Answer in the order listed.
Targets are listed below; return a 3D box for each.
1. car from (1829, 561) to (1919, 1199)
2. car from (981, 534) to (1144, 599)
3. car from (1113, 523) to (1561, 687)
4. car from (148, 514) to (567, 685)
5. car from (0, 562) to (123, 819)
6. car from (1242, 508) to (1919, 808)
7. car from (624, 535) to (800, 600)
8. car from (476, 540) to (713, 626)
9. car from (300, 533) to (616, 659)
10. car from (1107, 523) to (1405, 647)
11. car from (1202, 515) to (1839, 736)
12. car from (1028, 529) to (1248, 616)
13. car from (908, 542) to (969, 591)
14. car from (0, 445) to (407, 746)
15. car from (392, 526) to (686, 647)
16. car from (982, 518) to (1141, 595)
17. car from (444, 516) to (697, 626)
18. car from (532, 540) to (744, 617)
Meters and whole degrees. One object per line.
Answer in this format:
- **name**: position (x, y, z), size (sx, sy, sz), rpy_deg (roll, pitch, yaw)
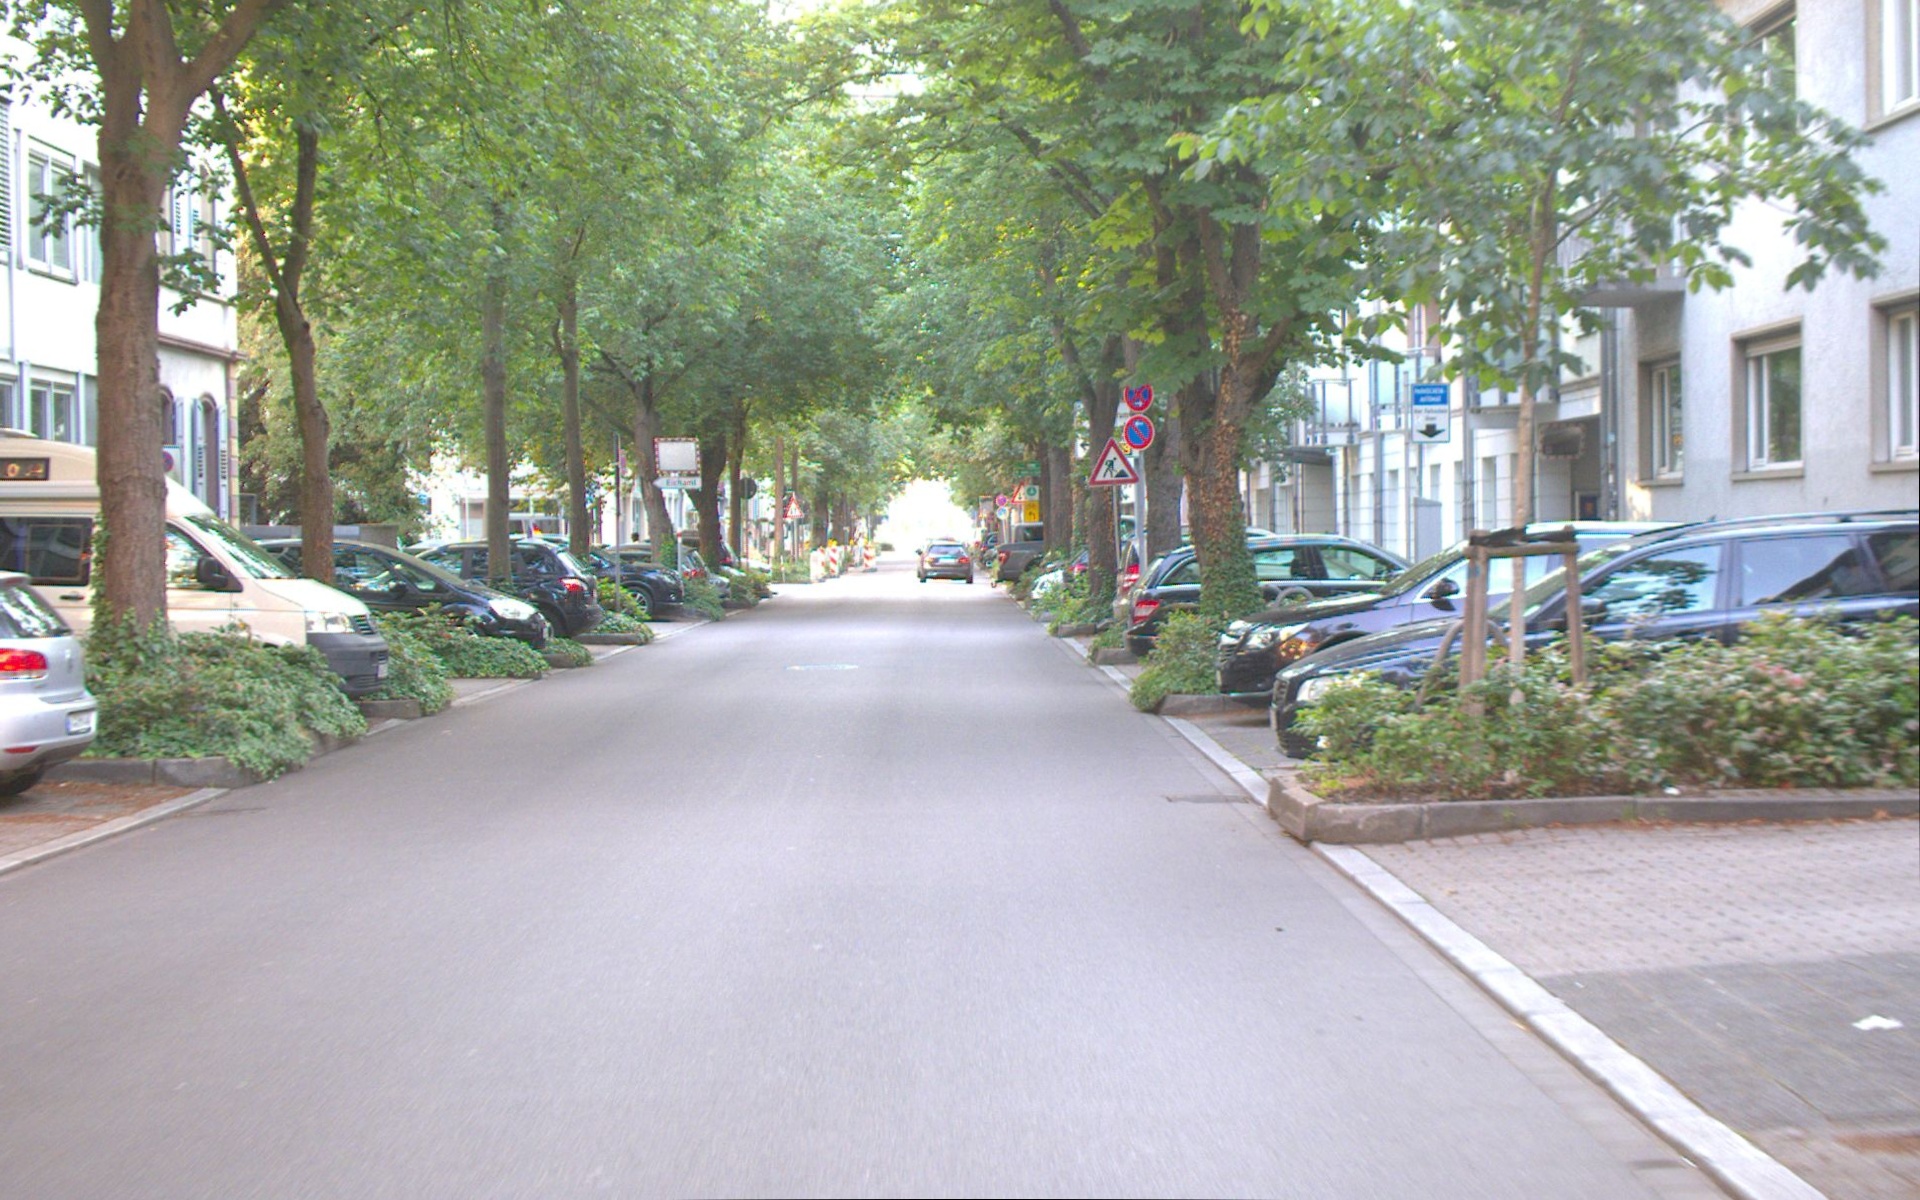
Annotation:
- **car**: position (3.998, 0.596, 7.076), size (3.876, 1.435, 1.848), rpy_deg (-2, 1, -3)
- **car**: position (2.731, -0.913, 92.443), size (4.268, 1.560, 1.963), rpy_deg (-2, 1, 0)
- **car**: position (3.909, 0.039, 36.203), size (4.508, 1.516, 1.995), rpy_deg (-2, 1, 3)
- **car**: position (-7.261, -0.020, 41.780), size (4.682, 1.848, 1.963), rpy_deg (-2, 1, 0)
- **car**: position (-7.273, 0.510, 21.008), size (3.871, 1.481, 1.757), rpy_deg (0, 1, 2)
- **car**: position (4.123, 0.311, 20.765), size (4.718, 1.704, 1.950), rpy_deg (0, 2, 2)
- **car**: position (-6.972, -0.922, 97.099), size (4.762, 1.624, 1.963), rpy_deg (-2, 1, 0)
- **car**: position (-7.725, -0.370, 72.974), size (4.762, 1.624, 1.963), rpy_deg (-2, 1, 0)
- **car**: position (-7.181, -0.069, 49.505), size (4.203, 1.630, 1.963), rpy_deg (-2, 1, 0)
- **car**: position (4.205, -0.226, 49.312), size (4.050, 1.592, 1.825), rpy_deg (-2, 1, 0)
- **car**: position (4.362, 0.179, 27.291), size (4.682, 1.516, 1.963), rpy_deg (-2, 1, 0)
- **car**: position (3.563, -0.559, 69.333), size (4.268, 1.560, 1.963), rpy_deg (-2, 1, 0)
- **car**: position (-0.719, -1.138, 115.986), size (1.956, 1.560, 4.282), rpy_deg (-2, 1, 0)
- **car**: position (-7.220, -0.049, 29.317), size (4.682, 2.469, 2.000), rpy_deg (0, 1, 0)
- **car**: position (-6.958, -0.233, 57.197), size (4.595, 1.801, 1.963), rpy_deg (-2, 1, 0)
- **car**: position (2.795, -1.196, 95.141), size (4.268, 1.955, 1.963), rpy_deg (-2, 1, 0)
- **car**: position (-7.742, -0.589, 68.649), size (4.762, 1.977, 1.963), rpy_deg (-2, 1, 0)
- **car**: position (-7.596, -0.515, 81.428), size (4.762, 1.624, 1.963), rpy_deg (-2, 1, 0)
